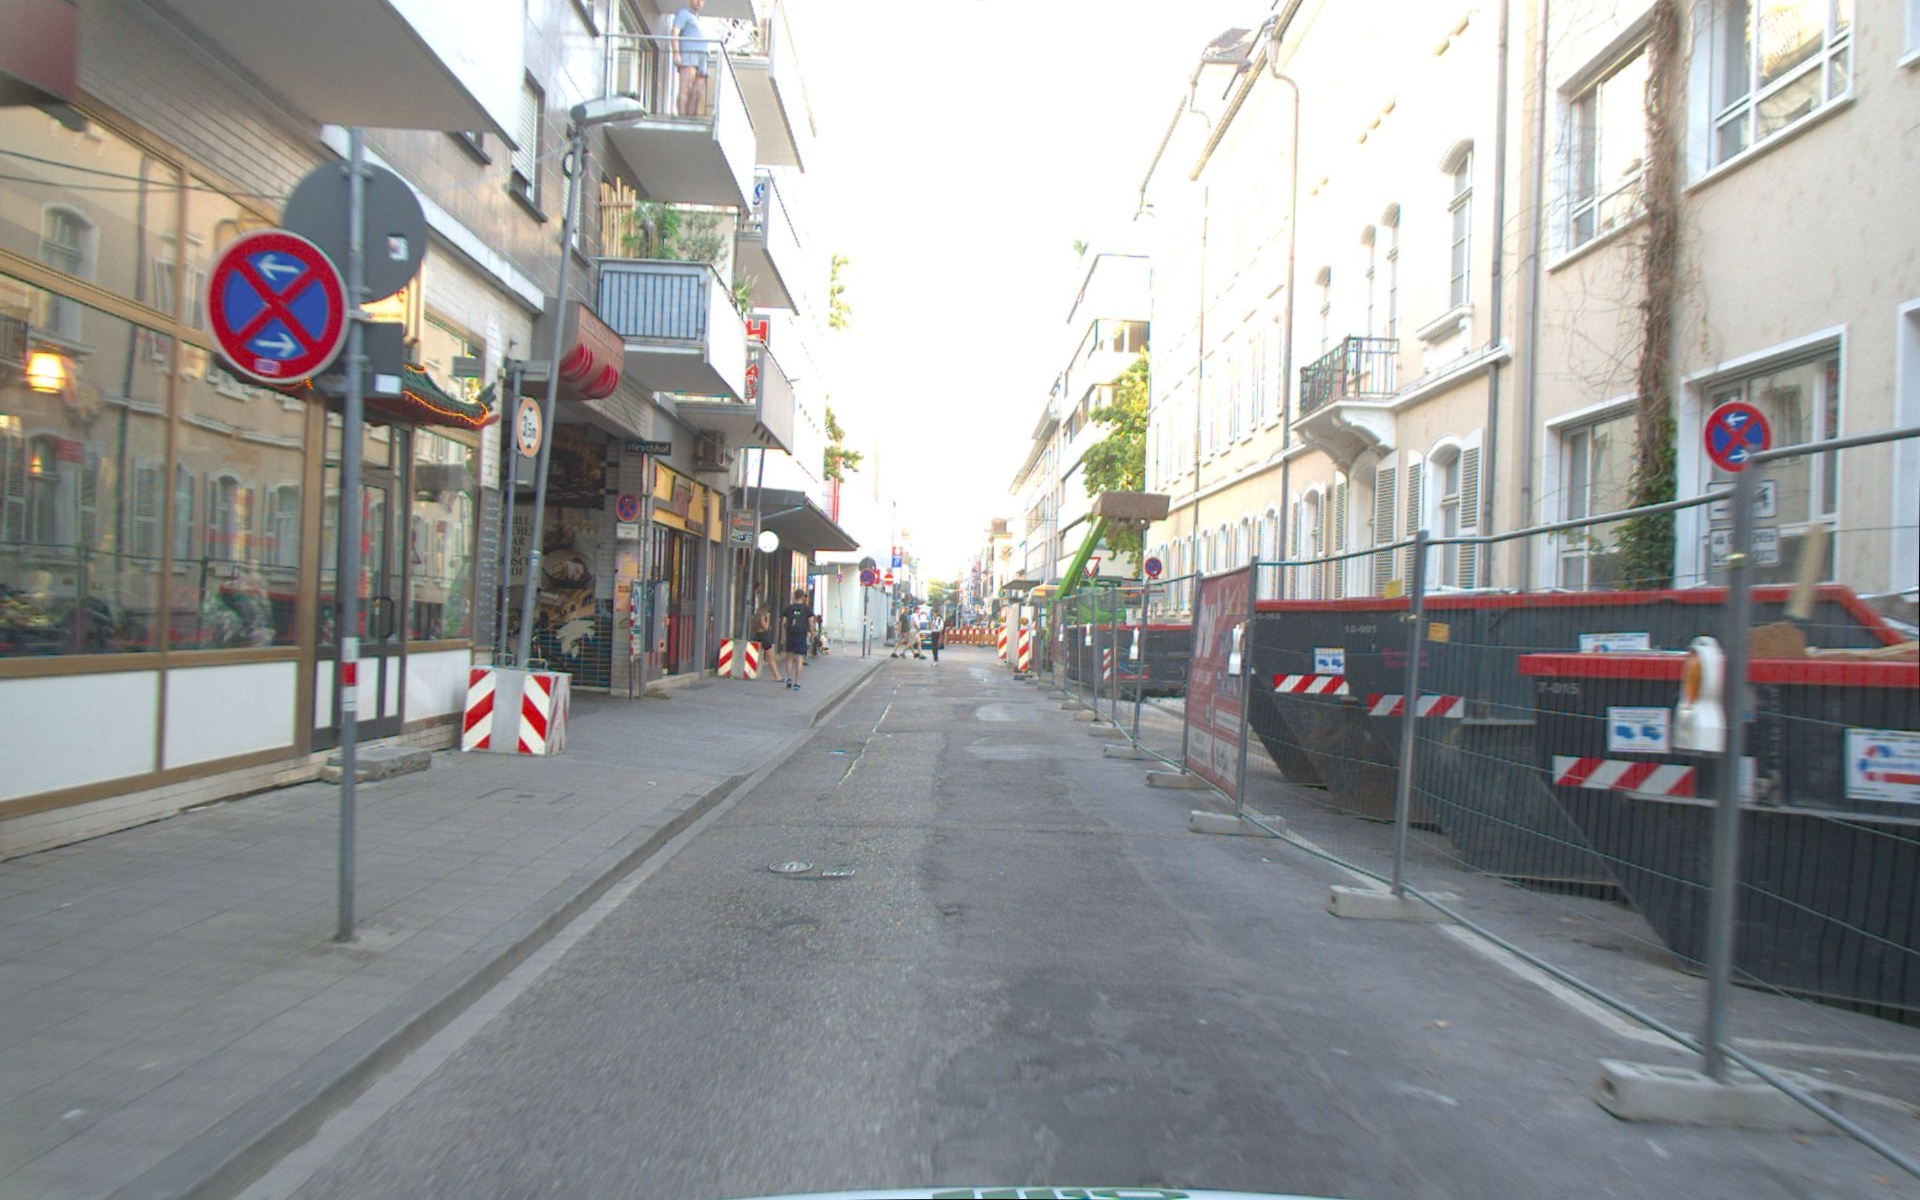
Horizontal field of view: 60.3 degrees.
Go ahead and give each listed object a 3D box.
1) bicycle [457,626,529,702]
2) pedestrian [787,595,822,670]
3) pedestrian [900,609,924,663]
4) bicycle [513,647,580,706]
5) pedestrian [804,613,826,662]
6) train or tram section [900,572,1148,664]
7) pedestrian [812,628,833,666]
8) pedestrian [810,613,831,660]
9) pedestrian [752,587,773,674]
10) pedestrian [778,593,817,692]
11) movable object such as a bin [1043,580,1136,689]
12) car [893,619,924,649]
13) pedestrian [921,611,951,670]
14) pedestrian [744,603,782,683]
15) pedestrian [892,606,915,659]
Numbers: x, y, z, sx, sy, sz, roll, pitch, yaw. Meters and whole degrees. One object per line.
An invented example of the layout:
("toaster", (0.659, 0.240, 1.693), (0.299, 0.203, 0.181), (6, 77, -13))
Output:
("bicycle", (-6.609, 0.893, 23.484), (0.511, 1.027, 1.747), (2, -1, -1))
("pedestrian", (-4.004, 0.839, 42.705), (0.562, 1.919, 0.654), (1, -2, 34))
("pedestrian", (-1.670, 1.260, 57.593), (0.635, 1.841, 0.628), (2, -1, -17))
("bicycle", (-5.859, 1.069, 23.531), (0.511, 0.774, 1.747), (2, -1, -1))
("pedestrian", (-4.402, 1.137, 50.182), (0.547, 1.415, 0.892), (3, 0, -1))
("train or tram section", (2.652, 0.787, 70.503), (10.275, 3.520, 2.999), (2, -1, -2))
("pedestrian", (-4.484, 1.520, 53.858), (0.605, 1.192, 0.787), (2, -1, -2))
("pedestrian", (-4.304, 1.131, 51.056), (0.531, 1.412, 0.625), (2, -1, 0))
("pedestrian", (-4.739, 0.733, 39.693), (0.402, 2.049, 0.453), (2, -1, -3))
("pedestrian", (-3.064, 0.795, 31.305), (0.616, 1.840, 0.647), (2, -1, 1))
("movable object such as a bin", (4.016, 1.055, 52.231), (2.420, 3.185, 4.296), (3, 0, -1))
("car", (-2.592, 1.710, 83.512), (1.444, 1.422, 3.331), (2, -1, -1))
("pedestrian", (-0.719, 1.240, 50.375), (0.705, 1.770, 0.647), (1, -1, 18))
("pedestrian", (-3.985, 0.870, 33.442), (0.635, 1.592, 0.628), (2, -1, -16))
("pedestrian", (-2.009, 1.150, 58.489), (0.635, 1.841, 0.628), (2, -1, -17))
